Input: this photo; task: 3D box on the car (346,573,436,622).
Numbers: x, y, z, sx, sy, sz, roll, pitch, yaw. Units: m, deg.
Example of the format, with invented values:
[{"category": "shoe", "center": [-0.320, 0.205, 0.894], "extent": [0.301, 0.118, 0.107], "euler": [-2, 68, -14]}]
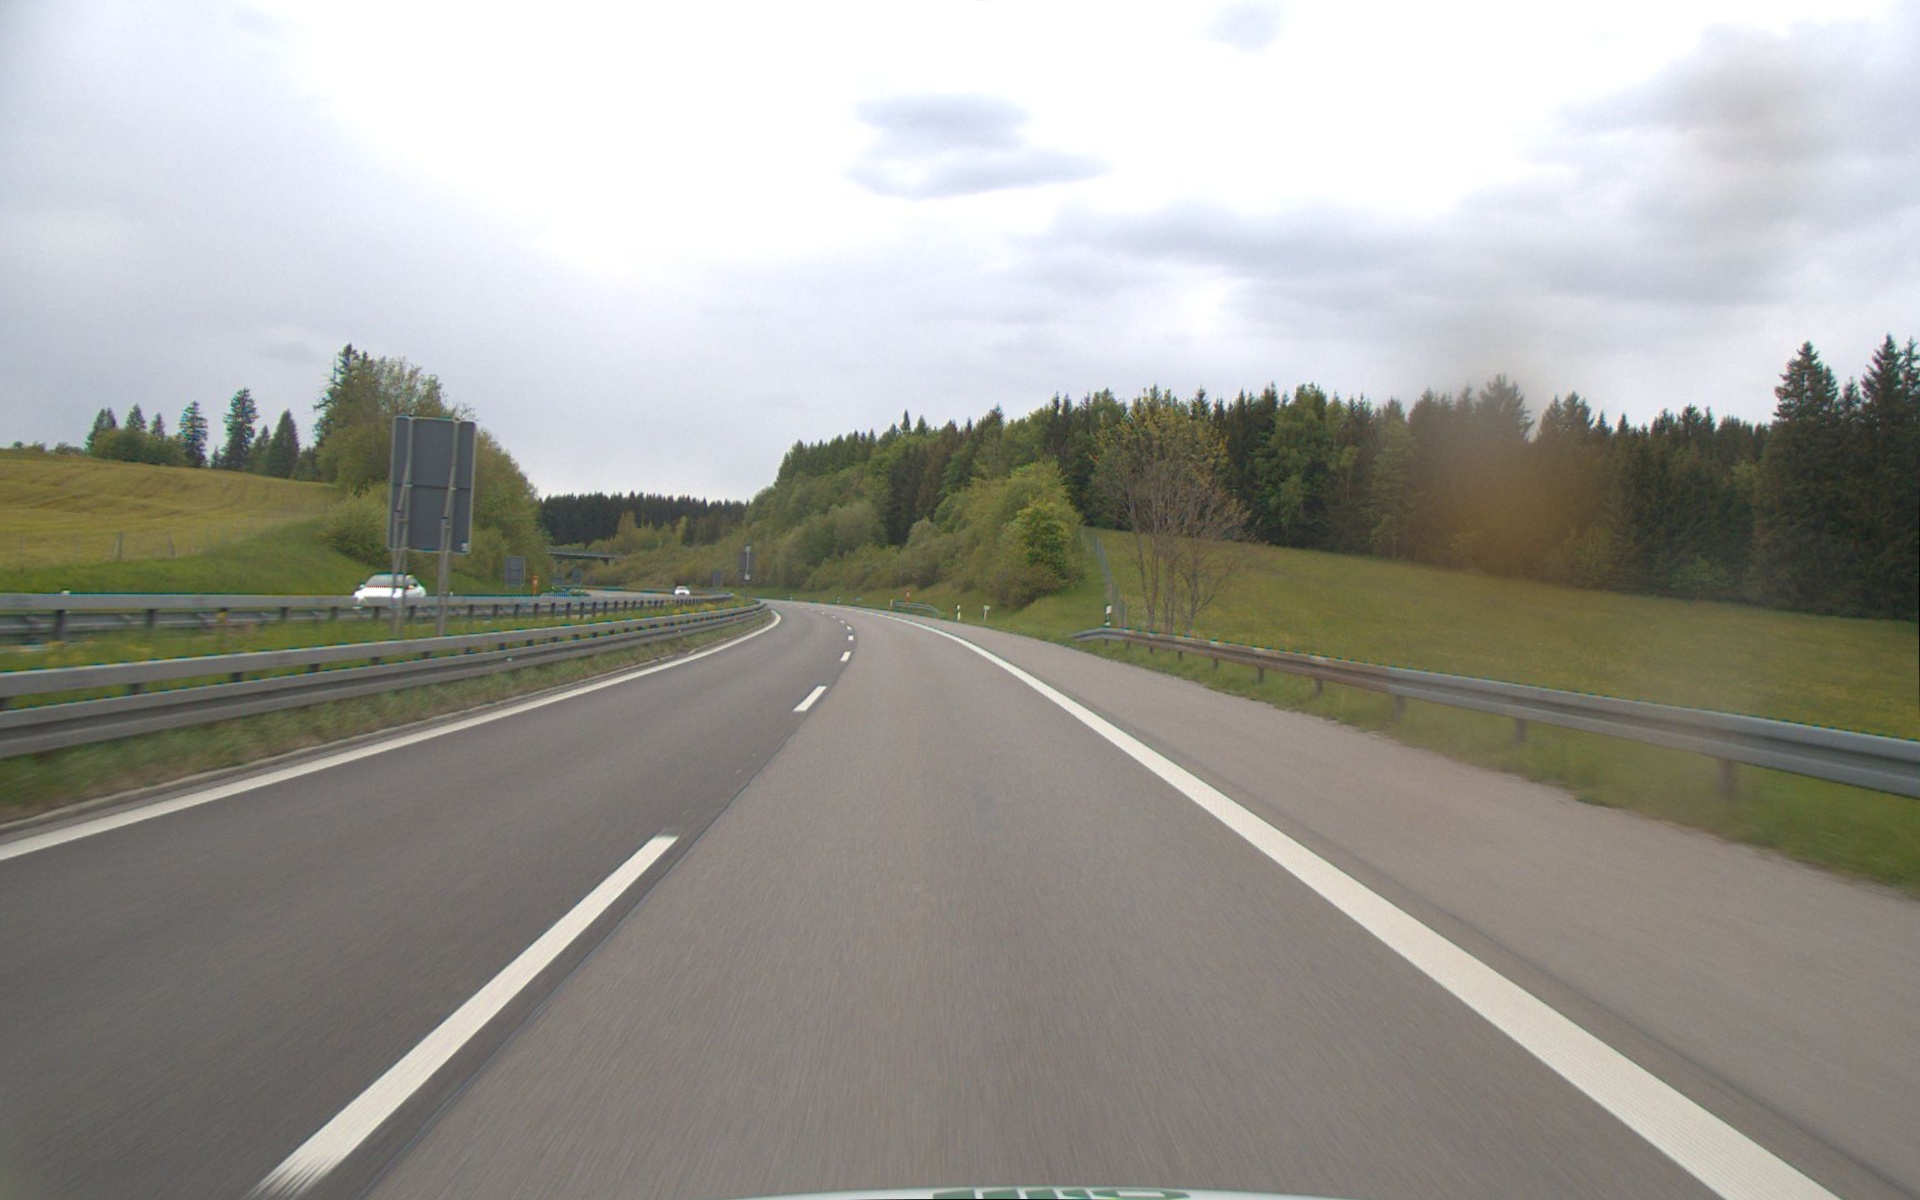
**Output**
[{"category": "car", "center": [-22.424, -0.120, 65.346], "extent": [1.995, 1.720, 5.051], "euler": [4, 0, -4]}]

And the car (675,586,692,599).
[{"category": "car", "center": [-35.724, -1.026, 213.583], "extent": [1.957, 1.453, 4.453], "euler": [4, 0, -10]}]
